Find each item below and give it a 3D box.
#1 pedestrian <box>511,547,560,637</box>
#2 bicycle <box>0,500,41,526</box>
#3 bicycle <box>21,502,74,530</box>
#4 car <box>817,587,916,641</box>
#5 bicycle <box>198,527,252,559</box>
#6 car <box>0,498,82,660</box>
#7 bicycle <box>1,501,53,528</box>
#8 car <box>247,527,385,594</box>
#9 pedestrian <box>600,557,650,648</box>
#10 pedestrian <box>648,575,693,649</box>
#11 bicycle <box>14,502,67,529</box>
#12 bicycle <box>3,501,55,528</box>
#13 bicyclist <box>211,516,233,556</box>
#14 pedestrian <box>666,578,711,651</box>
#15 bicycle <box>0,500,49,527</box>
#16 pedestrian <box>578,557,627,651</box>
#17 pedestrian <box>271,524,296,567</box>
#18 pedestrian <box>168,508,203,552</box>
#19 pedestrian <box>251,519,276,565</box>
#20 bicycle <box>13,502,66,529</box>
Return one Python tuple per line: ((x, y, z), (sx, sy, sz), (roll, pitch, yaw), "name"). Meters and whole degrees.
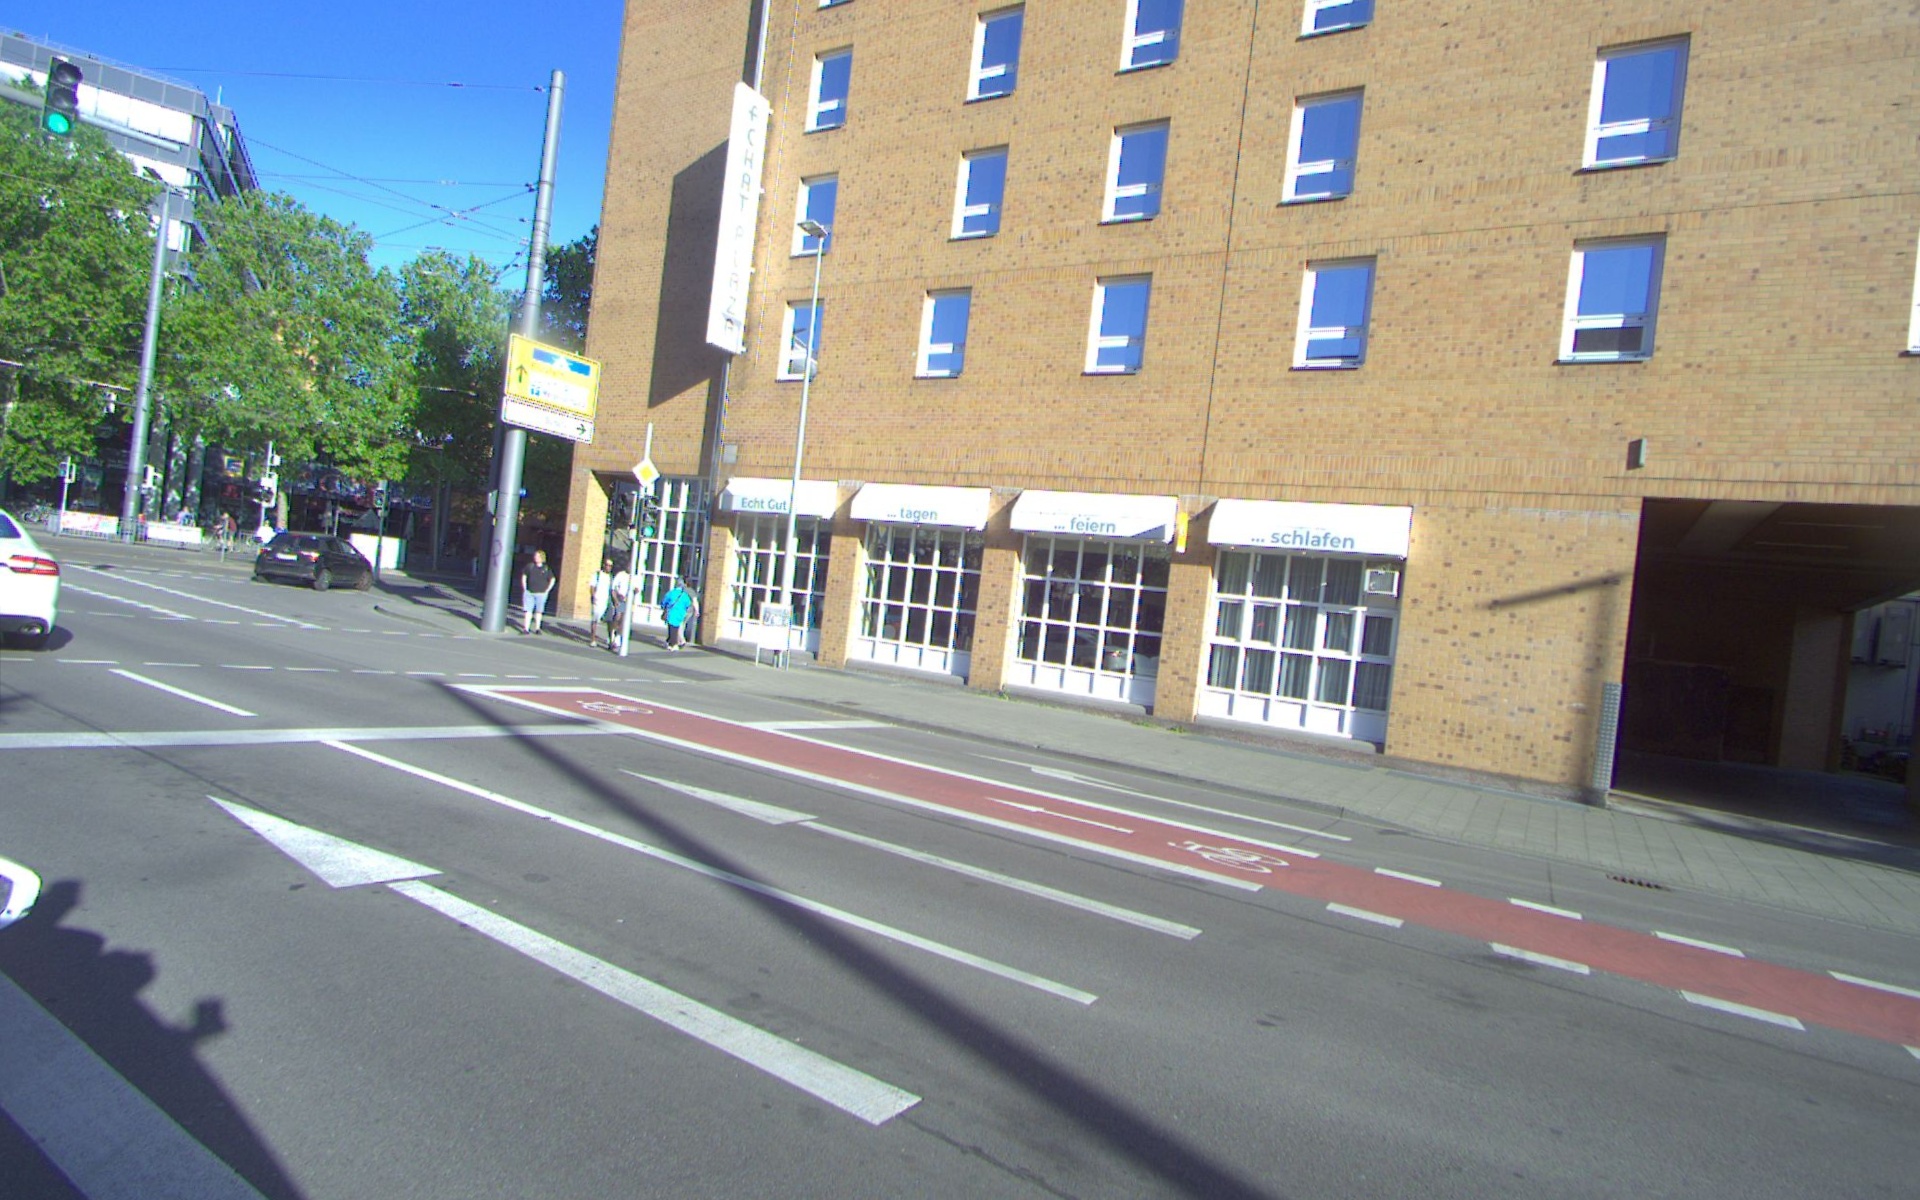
((-9.039, -0.158, 21.453), (0.726, 1.813, 0.510), (7, -1, -19), "pedestrian")
((-50.107, -4.635, 53.394), (0.354, 1.058, 1.885), (7, -2, 31), "bicycle")
((-46.048, -4.234, 50.782), (0.354, 1.058, 1.884), (6, -2, 31), "bicycle")
((-4.629, 0.698, 49.602), (4.405, 2.031, 1.804), (8, -2, -15), "car")
((-36.267, -2.810, 49.685), (0.414, 1.228, 2.046), (6, -2, 32), "bicycle")
((-10.713, -0.433, 10.033), (4.381, 1.447, 1.805), (7, -1, 34), "car")
((-48.731, -4.479, 52.546), (0.354, 1.058, 1.885), (7, -2, 31), "bicycle")
((-18.195, -1.049, 28.645), (1.708, 1.466, 4.036), (8, -2, -9), "car")
((-6.960, 0.061, 20.883), (0.673, 1.802, 0.591), (6, 1, 43), "pedestrian")
((-6.081, 0.253, 21.139), (0.591, 1.472, 0.592), (6, 3, 32), "pedestrian")
((-46.720, -4.292, 51.153), (0.354, 1.058, 1.884), (6, -2, 31), "bicycle")
((-48.342, -4.428, 52.270), (0.354, 1.058, 1.884), (6, -2, 31), "bicycle")
((-36.336, -3.140, 49.525), (0.396, 1.859, 0.585), (6, -1, 31), "bicyclist")
((-5.881, 0.315, 21.814), (0.543, 1.495, 0.593), (6, 0, 32), "pedestrian")
((-49.147, -4.528, 52.804), (0.354, 1.058, 1.885), (7, -2, 31), "bicycle")
((-7.164, 0.078, 20.144), (0.589, 1.804, 0.673), (3, 4, -42), "pedestrian")
((-24.665, -1.981, 36.663), (0.563, 1.496, 0.695), (8, -2, -37), "pedestrian")
((-33.336, -3.002, 43.314), (0.747, 1.724, 0.834), (6, -1, 32), "pedestrian")
((-25.011, -2.086, 36.115), (0.563, 1.550, 0.696), (8, -1, -35), "pedestrian")
((-47.309, -4.330, 51.728), (0.354, 1.058, 1.884), (6, -2, 31), "bicycle")
